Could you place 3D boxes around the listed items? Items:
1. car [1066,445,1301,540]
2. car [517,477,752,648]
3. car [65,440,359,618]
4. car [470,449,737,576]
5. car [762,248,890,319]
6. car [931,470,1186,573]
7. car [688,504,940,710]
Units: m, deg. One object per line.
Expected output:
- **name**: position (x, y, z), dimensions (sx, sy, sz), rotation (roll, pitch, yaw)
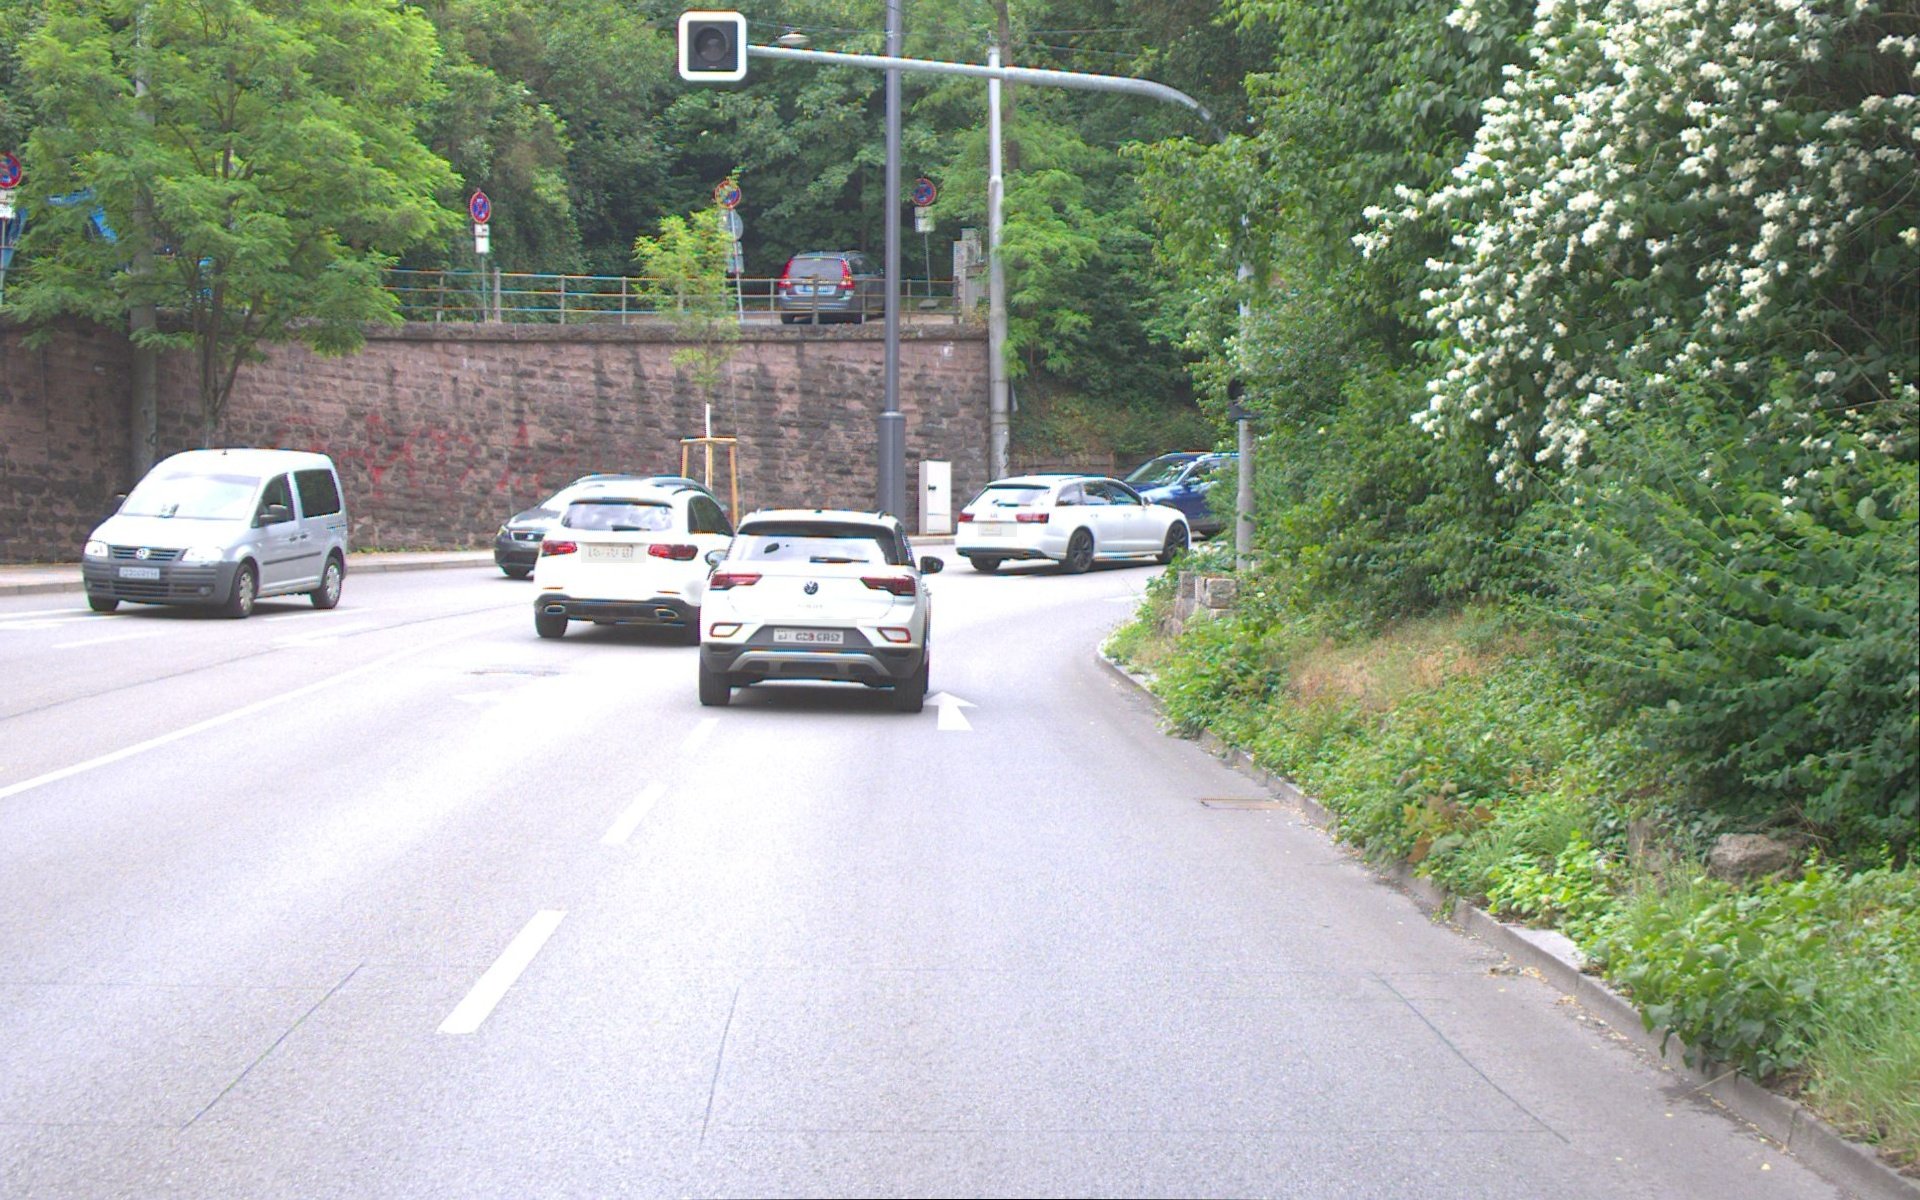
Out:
- **car**: position (4.096, -1.955, 62.664), dimensions (3.988, 1.678, 1.999), rotation (-2, 2, -40)
- **car**: position (-3.484, -0.429, 37.586), dimensions (1.877, 1.646, 4.341), rotation (4, 1, 3)
- **car**: position (-8.362, -0.854, 38.813), dimensions (1.946, 1.792, 4.285), rotation (3, 3, 6)
- **car**: position (-5.083, -1.279, 49.601), dimensions (1.948, 1.688, 4.281), rotation (3, 3, 23)
- **car**: position (-2.865, -6.856, 74.480), dimensions (1.994, 1.480, 4.000), rotation (0, 5, 9)
- **car**: position (1.570, -1.219, 53.188), dimensions (2.251, 1.514, 4.301), rotation (0, 2, 28)
- **car**: position (-1.253, 0.013, 27.952), dimensions (1.864, 1.550, 3.895), rotation (0, 1, -5)
